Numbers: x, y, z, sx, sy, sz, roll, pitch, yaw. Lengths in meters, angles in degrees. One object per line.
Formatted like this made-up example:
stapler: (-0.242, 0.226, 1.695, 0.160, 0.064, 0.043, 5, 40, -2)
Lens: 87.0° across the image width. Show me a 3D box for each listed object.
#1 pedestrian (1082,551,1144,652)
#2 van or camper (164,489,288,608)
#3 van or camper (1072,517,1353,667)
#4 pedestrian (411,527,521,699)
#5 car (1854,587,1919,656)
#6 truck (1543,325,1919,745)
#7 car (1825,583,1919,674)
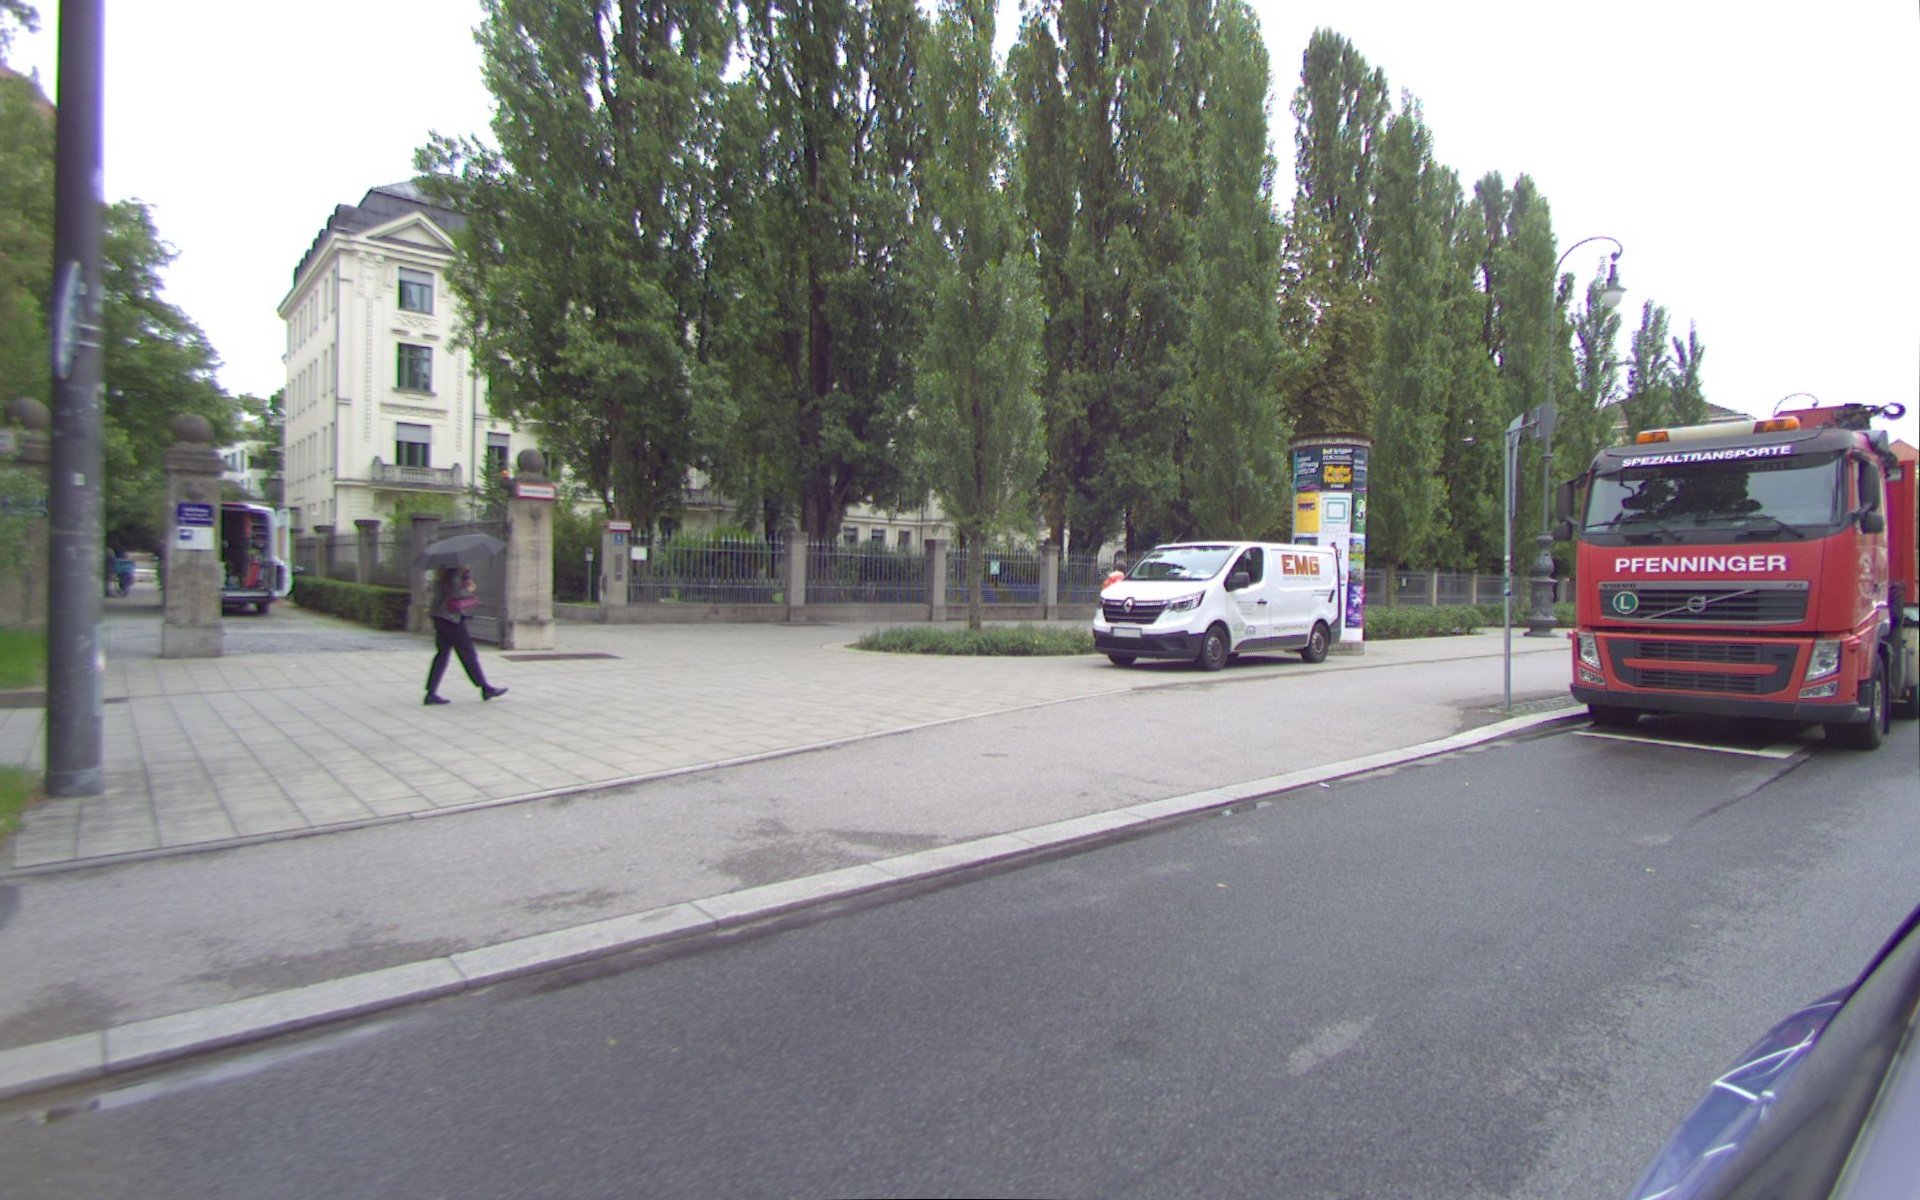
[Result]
pedestrian: (2.661, 0.013, 17.586, 0.742, 1.715, 0.718, 0, 1, -41)
van or camper: (-18.974, -1.298, 26.042, 2.209, 2.739, 5.221, 0, 2, -40)
van or camper: (4.167, -0.129, 16.204, 4.901, 2.039, 2.006, 0, 1, -42)
pedestrian: (-4.940, 0.112, 10.113, 0.825, 1.628, 0.774, 0, 1, -38)
car: (21.501, 0.452, 22.563, 4.362, 1.409, 1.845, 0, 2, -42)
truck: (10.977, -0.600, 13.159, 10.102, 3.609, 2.849, 0, 1, -42)
car: (17.092, 0.480, 18.407, 3.590, 1.487, 1.563, 0, 2, -42)
